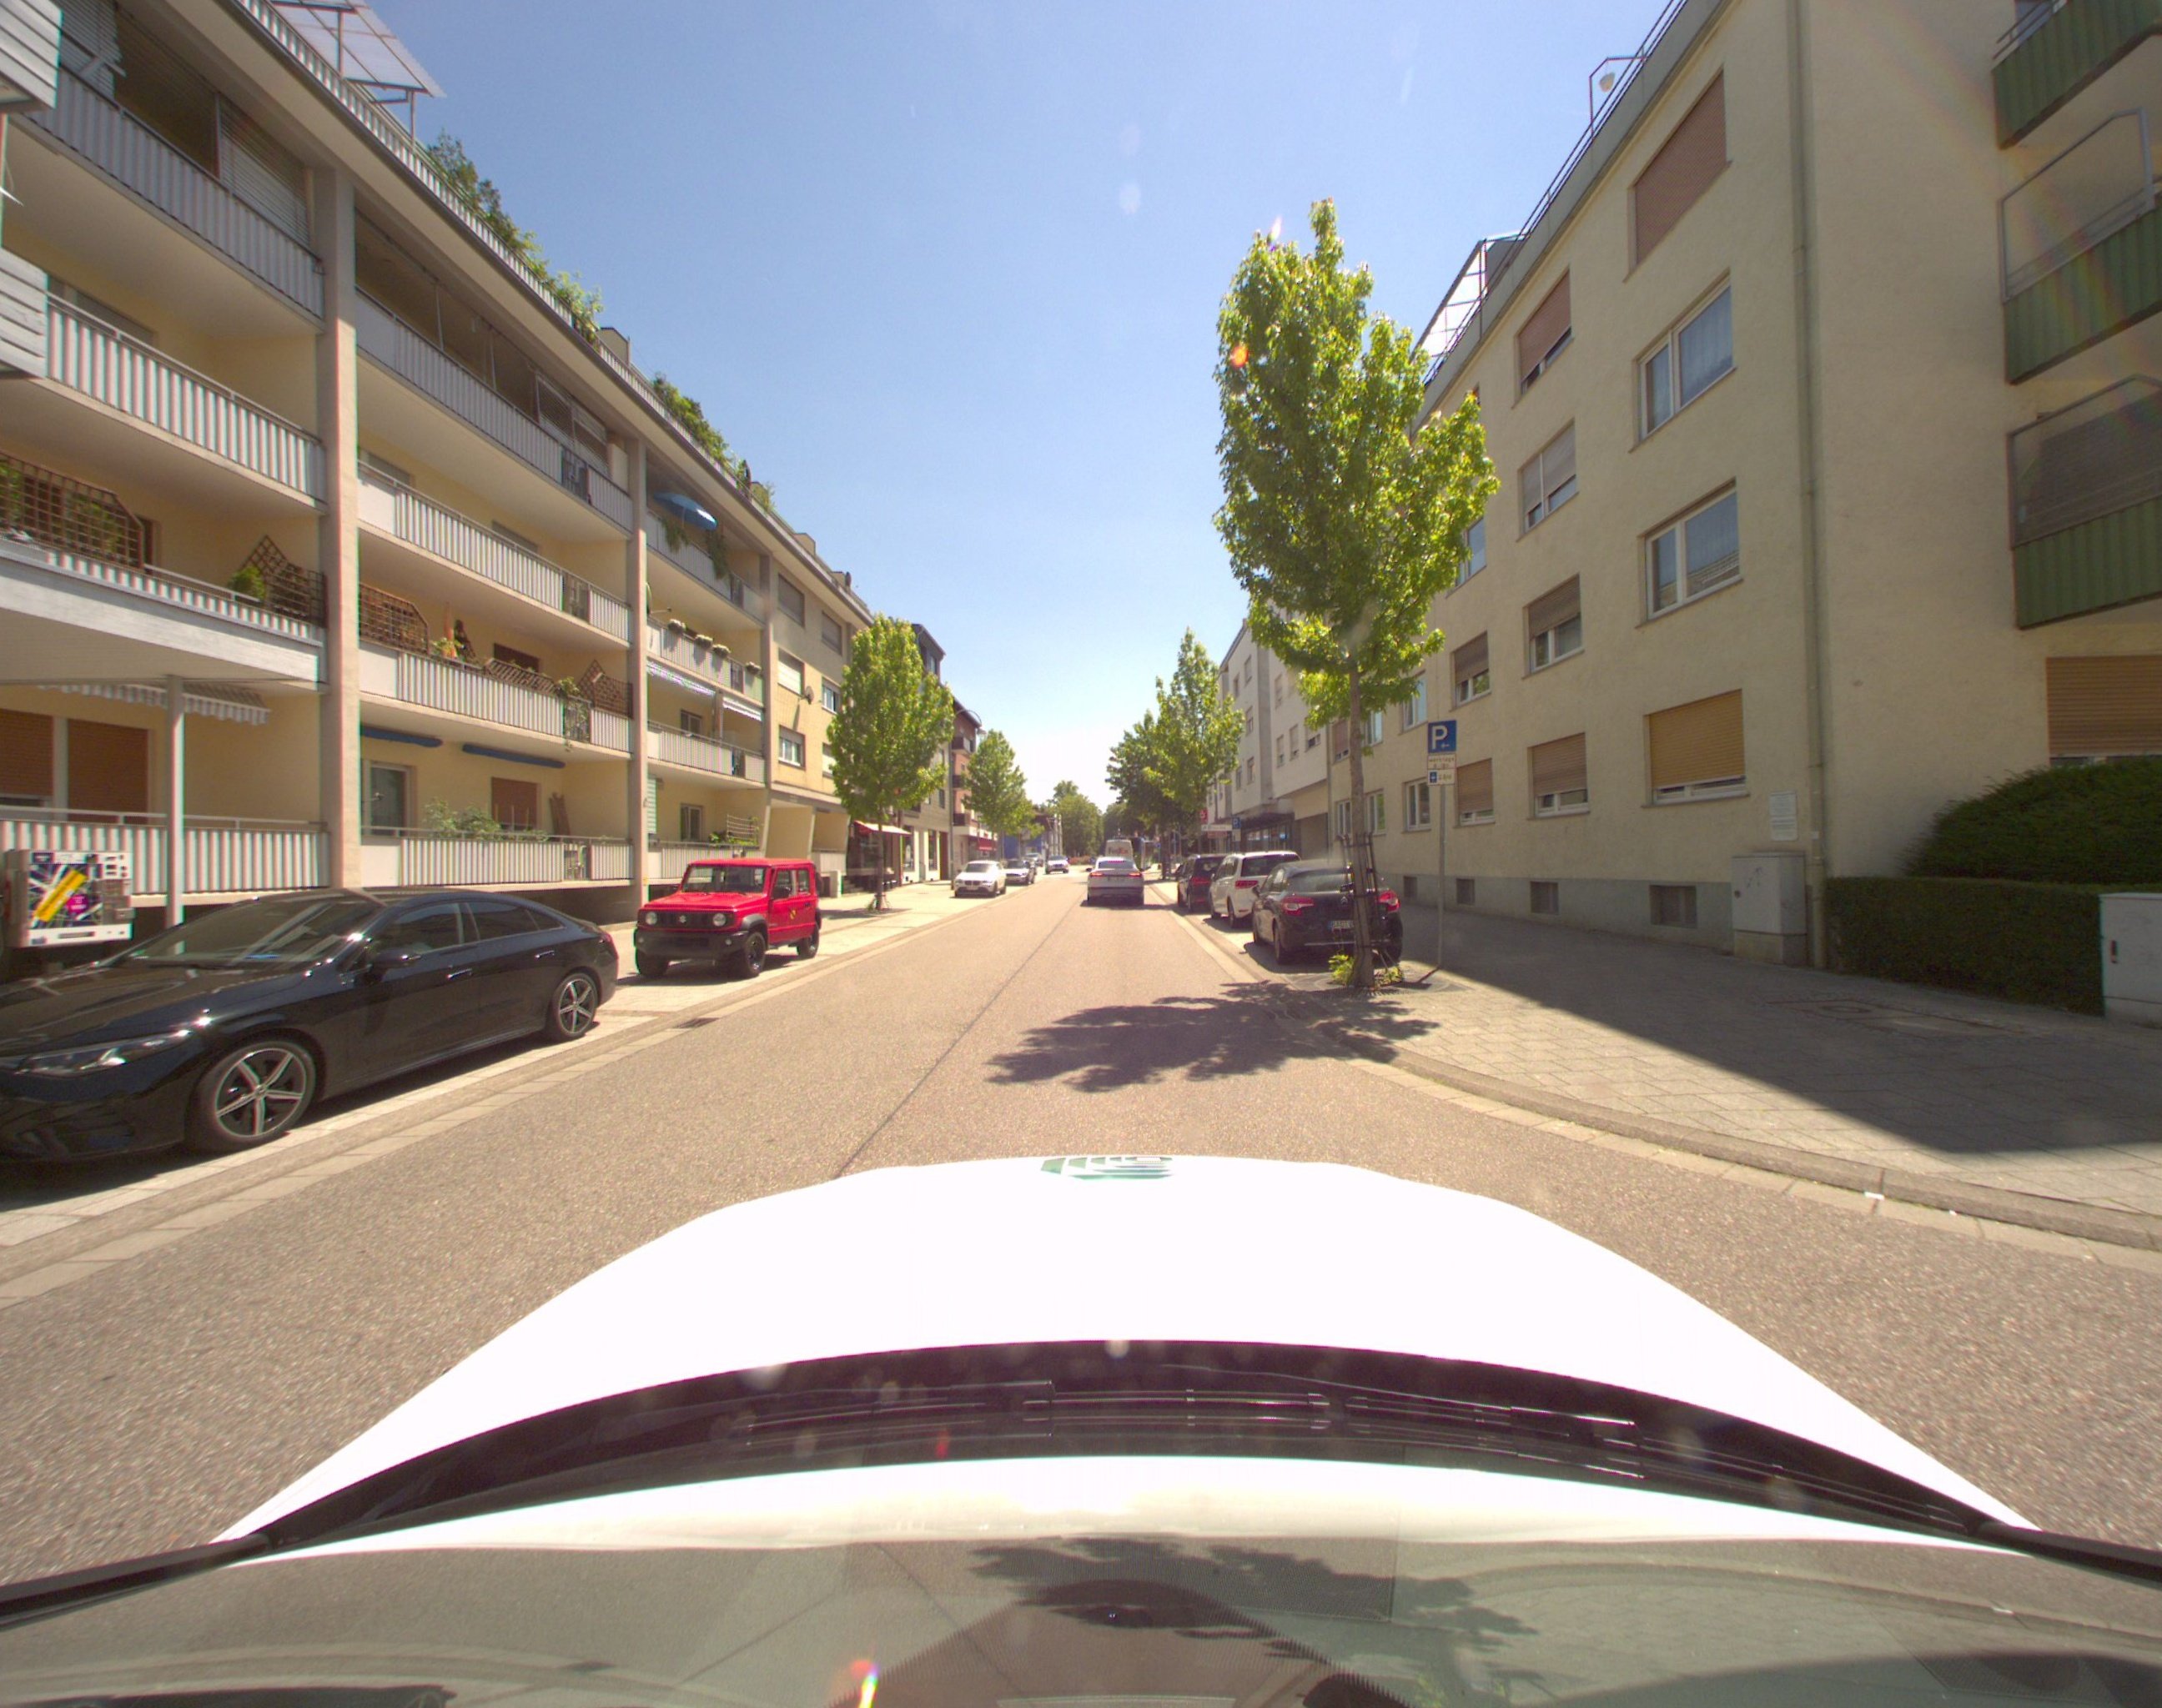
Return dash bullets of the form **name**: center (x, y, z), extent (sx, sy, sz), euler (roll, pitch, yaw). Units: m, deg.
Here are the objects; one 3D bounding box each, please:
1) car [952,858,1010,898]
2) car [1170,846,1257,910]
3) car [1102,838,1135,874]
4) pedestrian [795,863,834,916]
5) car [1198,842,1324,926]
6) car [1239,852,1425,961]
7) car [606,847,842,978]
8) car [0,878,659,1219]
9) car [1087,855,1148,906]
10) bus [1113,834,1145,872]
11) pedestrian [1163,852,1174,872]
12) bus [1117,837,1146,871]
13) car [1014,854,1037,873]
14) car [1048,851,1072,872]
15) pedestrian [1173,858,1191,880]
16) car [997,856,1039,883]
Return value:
- **car**: center (-4.352, 0.993, 36.104), extent (1.745, 1.618, 4.405), euler (1, 0, 3)
- **car**: center (3.898, 0.669, 24.732), extent (1.850, 1.674, 4.536), euler (-3, 0, 0)
- **car**: center (2.653, 0.155, 57.449), extent (2.147, 2.442, 5.286), euler (1, 0, 3)
- **pedestrian**: center (-7.878, 1.040, 24.127), extent (0.694, 1.492, 1.097), euler (2, 0, 2)
- **car**: center (4.105, 0.633, 19.376), extent (1.890, 1.674, 4.690), euler (-3, 0, 0)
- **car**: center (3.807, 0.709, 13.237), extent (1.888, 1.438, 4.549), euler (-1, 0, 4)
- **car**: center (-5.314, 0.775, 12.800), extent (1.746, 1.702, 4.103), euler (1, 0, 2)
- **car**: center (-5.621, 0.978, 6.326), extent (1.889, 1.417, 5.050), euler (1, 0, 2)
- **car**: center (1.229, 0.867, 28.530), extent (1.986, 1.633, 4.001), euler (0, 0, 1)
- **bus**: center (4.415, -0.063, 73.284), extent (2.648, 3.221, 7.310), euler (1, 0, 5)
- **pedestrian**: center (6.635, 0.599, 61.789), extent (0.716, 1.502, 0.581), euler (-1, 0, -6)
- **bus**: center (5.040, 0.003, 80.616), extent (2.648, 3.210, 7.461), euler (1, 0, 5)
- **car**: center (-4.604, 0.786, 68.182), extent (1.833, 1.495, 3.996), euler (-1, 0, -3)
- **car**: center (-1.800, 0.622, 71.353), extent (1.849, 1.692, 4.152), euler (-2, 0, 2)
- **pedestrian**: center (5.758, 0.852, 46.449), extent (0.902, 1.236, 0.648), euler (-1, 0, 1)
- **car**: center (-3.589, 0.863, 46.960), extent (1.744, 1.453, 4.405), euler (1, 0, 4)
